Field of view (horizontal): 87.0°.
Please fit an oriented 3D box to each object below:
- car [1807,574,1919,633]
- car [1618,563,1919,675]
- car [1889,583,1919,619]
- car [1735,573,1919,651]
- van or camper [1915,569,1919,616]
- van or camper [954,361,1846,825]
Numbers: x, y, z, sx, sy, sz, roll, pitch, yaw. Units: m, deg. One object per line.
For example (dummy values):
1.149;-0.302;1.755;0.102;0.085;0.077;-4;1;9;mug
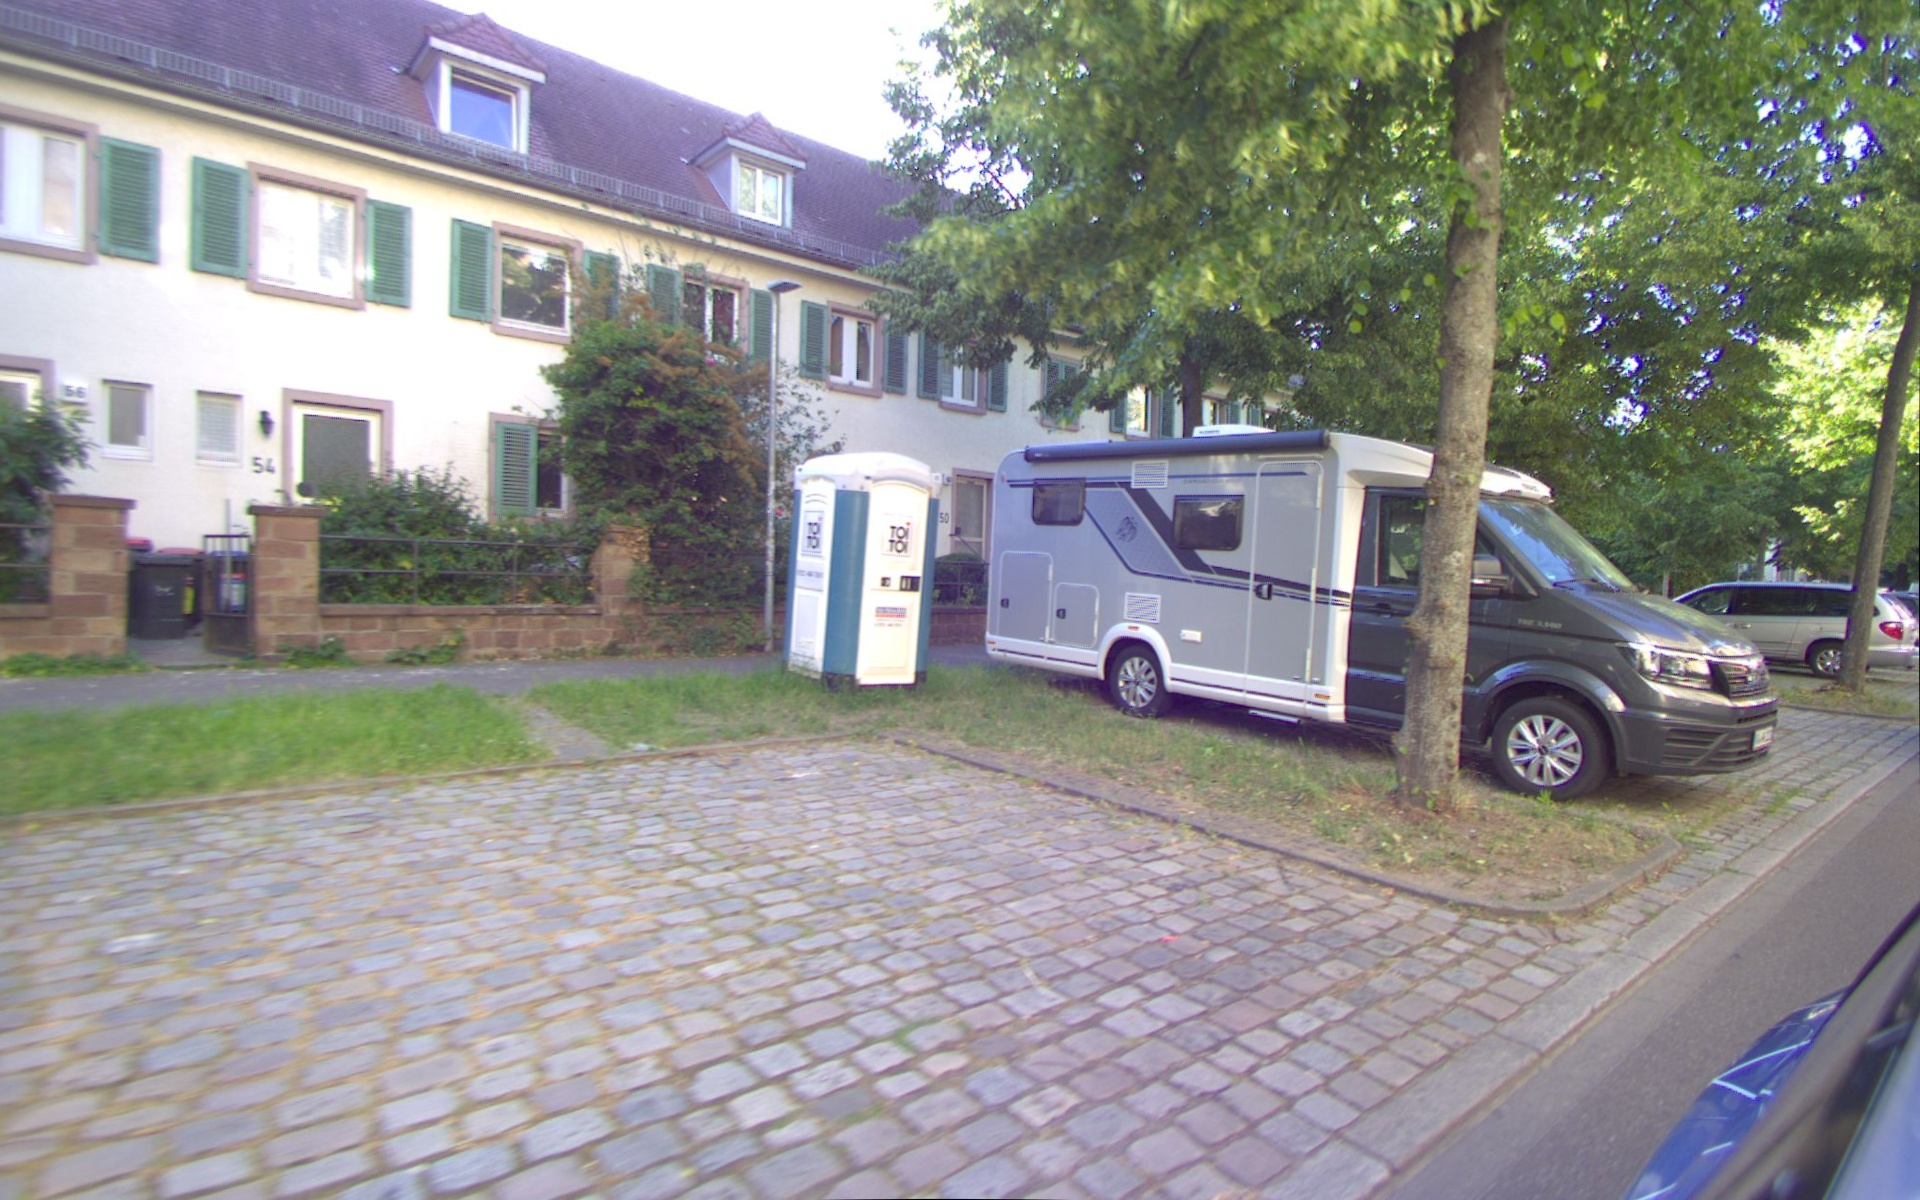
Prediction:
31.118;0.159;33.288;1.872;1.697;4.596;1;5;-38;car
15.744;0.263;19.618;1.800;1.730;4.633;1;4;-39;car
45.250;0.218;45.529;1.862;1.557;4.848;0;5;-42;car
23.338;0.290;26.532;4.543;1.653;1.784;7;5;44;car
55.350;-0.165;54.248;2.124;2.546;5.734;0;5;-41;van or camper
3.151;-0.347;9.395;2.419;2.678;7.171;1;5;-38;van or camper
